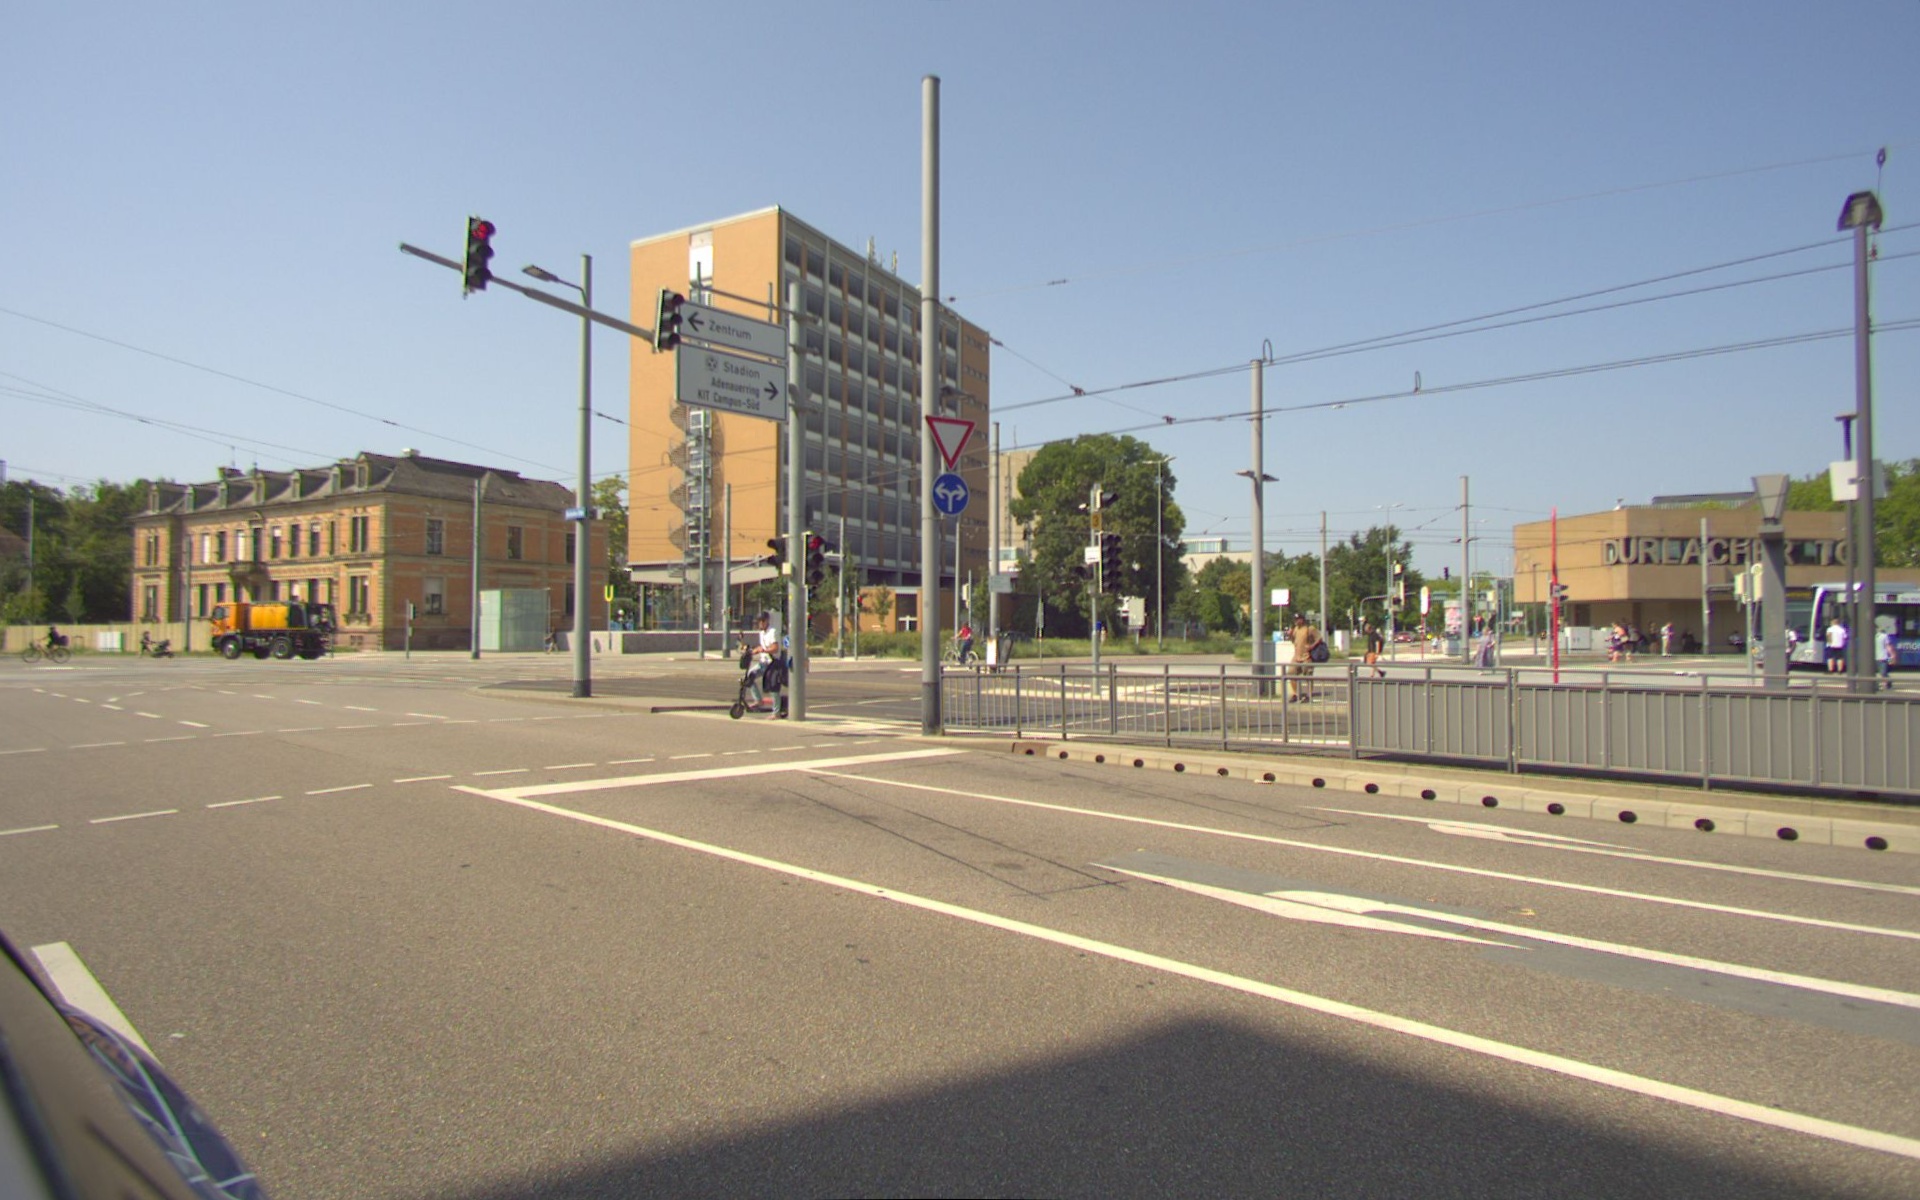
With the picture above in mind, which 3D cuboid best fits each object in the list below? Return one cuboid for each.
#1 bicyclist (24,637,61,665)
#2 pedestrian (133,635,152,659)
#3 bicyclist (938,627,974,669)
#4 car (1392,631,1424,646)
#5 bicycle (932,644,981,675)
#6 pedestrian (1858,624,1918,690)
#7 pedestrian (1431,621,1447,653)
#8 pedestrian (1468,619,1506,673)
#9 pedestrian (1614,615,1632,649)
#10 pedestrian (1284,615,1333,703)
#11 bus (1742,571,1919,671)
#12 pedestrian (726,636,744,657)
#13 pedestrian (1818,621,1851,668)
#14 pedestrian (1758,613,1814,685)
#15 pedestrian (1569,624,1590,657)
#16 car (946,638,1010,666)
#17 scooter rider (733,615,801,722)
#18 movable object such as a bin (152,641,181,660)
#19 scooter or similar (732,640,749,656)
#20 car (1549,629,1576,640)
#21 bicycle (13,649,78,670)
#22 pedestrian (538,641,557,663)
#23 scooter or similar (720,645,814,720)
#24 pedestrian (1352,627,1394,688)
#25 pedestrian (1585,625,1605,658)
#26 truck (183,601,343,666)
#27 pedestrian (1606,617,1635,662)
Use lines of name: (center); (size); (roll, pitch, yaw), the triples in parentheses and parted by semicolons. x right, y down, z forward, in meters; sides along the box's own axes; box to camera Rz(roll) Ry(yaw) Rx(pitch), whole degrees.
bicyclist: (-42.767, 2.387, 47.176); (1.087, 1.276, 0.860); (1, -2, -28)
pedestrian: (-46.717, 2.682, 57.840); (0.803, 1.362, 0.720); (2, -3, -41)
bicyclist: (-0.145, 1.740, 36.861); (0.980, 1.470, 0.865); (-2, -3, 45)
car: (55.118, 4.753, 124.484); (4.584, 1.666, 1.905); (2, -5, -42)
bicycle: (-0.127, 2.166, 36.823); (0.606, 1.077, 1.914); (2, -3, -45)
pedestrian: (22.252, 1.355, 24.274); (0.668, 1.560, 0.786); (0, -1, -9)
pedestrian: (27.164, 2.087, 57.378); (0.552, 1.830, 0.561); (0, -2, -1)
pedestrian: (17.689, 1.534, 33.974); (0.959, 1.793, 0.774); (0, -2, 44)
pedestrian: (33.166, 1.614, 50.603); (0.571, 1.658, 0.504); (-5, -5, 44)
pedestrian: (6.807, 1.146, 19.741); (0.796, 1.672, 0.570); (-3, -3, 23)
bus: (34.866, 0.707, 35.995); (12.562, 3.356, 2.680); (0, -2, -5)
pedestrian: (-14.962, 3.082, 67.299); (0.787, 1.405, 0.836); (-2, -3, 43)
pedestrian: (28.930, 1.457, 33.485); (0.567, 1.540, 0.601); (1, -1, -13)
pedestrian: (20.335, 1.203, 24.929); (0.668, 1.741, 0.786); (0, -2, -9)
pedestrian: (31.685, 2.078, 51.770); (0.579, 1.689, 0.578); (-1, -3, -3)
car: (1.239, 3.559, 69.654); (3.931, 1.807, 2.006); (0, -4, -30)
scooter rider: (-3.160, 1.100, 16.569); (0.778, 1.686, 0.764); (-2, -3, 37)
movable object such as a bin: (-45.694, 2.911, 58.309); (1.022, 1.093, 0.822); (-1, -3, -7)
scooter or similar: (-15.638, 3.421, 72.094); (1.126, 1.166, 0.444); (1, -3, -35)
car: (89.259, 5.076, 149.875); (4.582, 1.665, 1.906); (2, -3, -39)
bicycle: (-42.617, 2.762, 47.168); (2.132, 0.906, 0.643); (1, -2, -26)
pedestrian: (-26.120, 3.294, 64.103); (0.787, 1.405, 0.836); (-2, -3, 43)
scooter or similar: (-3.132, 1.342, 16.524); (0.708, 1.157, 1.324); (-2, -5, 39)
pedestrian: (12.467, 1.712, 30.570); (0.959, 1.793, 0.774); (0, -2, 44)
pedestrian: (32.531, 2.116, 51.841); (0.579, 1.689, 0.578); (-1, -3, -3)
truck: (-37.944, 1.887, 55.192); (7.111, 3.254, 3.033); (-2, -3, 10)
pedestrian: (26.450, 1.576, 40.529); (0.944, 1.793, 0.786); (2, -2, -43)
